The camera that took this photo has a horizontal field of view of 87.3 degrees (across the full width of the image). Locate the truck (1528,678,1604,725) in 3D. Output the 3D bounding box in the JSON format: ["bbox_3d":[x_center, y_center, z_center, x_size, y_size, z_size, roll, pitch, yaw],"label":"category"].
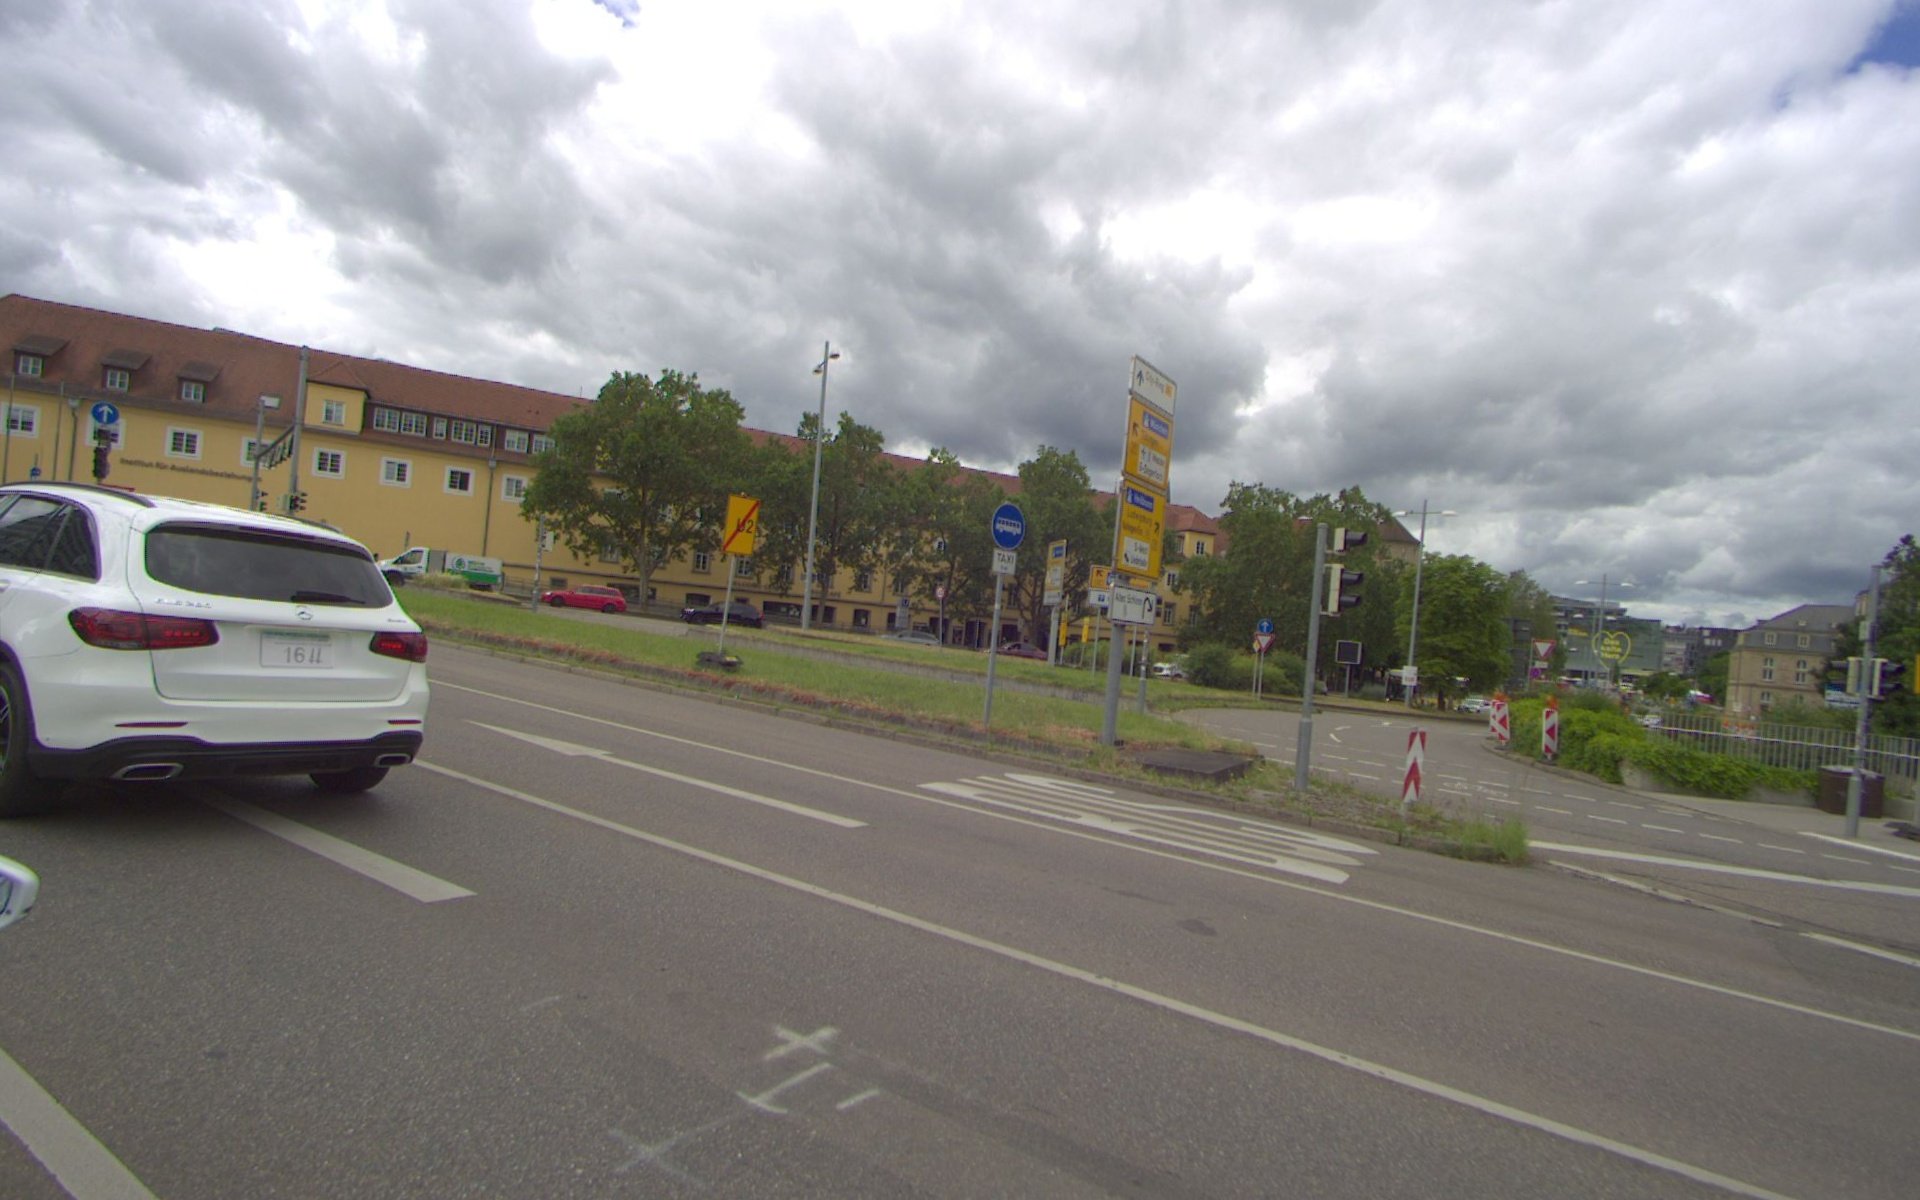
[{"bbox_3d":[55.140,9.270,91.476,7.564,3.409,2.787,8,-1,-34],"label":"truck"}]

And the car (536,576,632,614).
[{"bbox_3d":[-20.434,-0.268,54.708,4.637,1.437,1.587,8,-1,-26],"label":"car"}]

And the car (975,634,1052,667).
[{"bbox_3d":[3.173,2.998,59.700,4.196,1.437,1.649,8,-1,-26],"label":"car"}]

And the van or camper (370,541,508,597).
[{"bbox_3d":[-26.714,-1.574,51.843,5.945,2.037,2.009,8,-1,-23],"label":"van or camper"}]

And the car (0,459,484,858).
[{"bbox_3d":[-5.171,0.120,6.139,4.304,1.667,1.823,7,-1,30],"label":"car"}]

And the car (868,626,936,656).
[{"bbox_3d":[-3.808,2.675,66.060,4.041,1.430,1.649,8,-1,-26],"label":"car"}]

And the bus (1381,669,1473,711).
[{"bbox_3d":[42.715,8.245,91.824,9.571,2.884,2.550,8,-1,-31],"label":"bus"}]

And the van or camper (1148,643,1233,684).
[{"bbox_3d":[14.332,3.943,62.440,5.093,1.914,1.648,8,-1,-27],"label":"van or camper"}]

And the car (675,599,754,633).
[{"bbox_3d":[-14.149,0.915,57.924,4.041,1.430,1.649,8,-1,-26],"label":"car"}]
